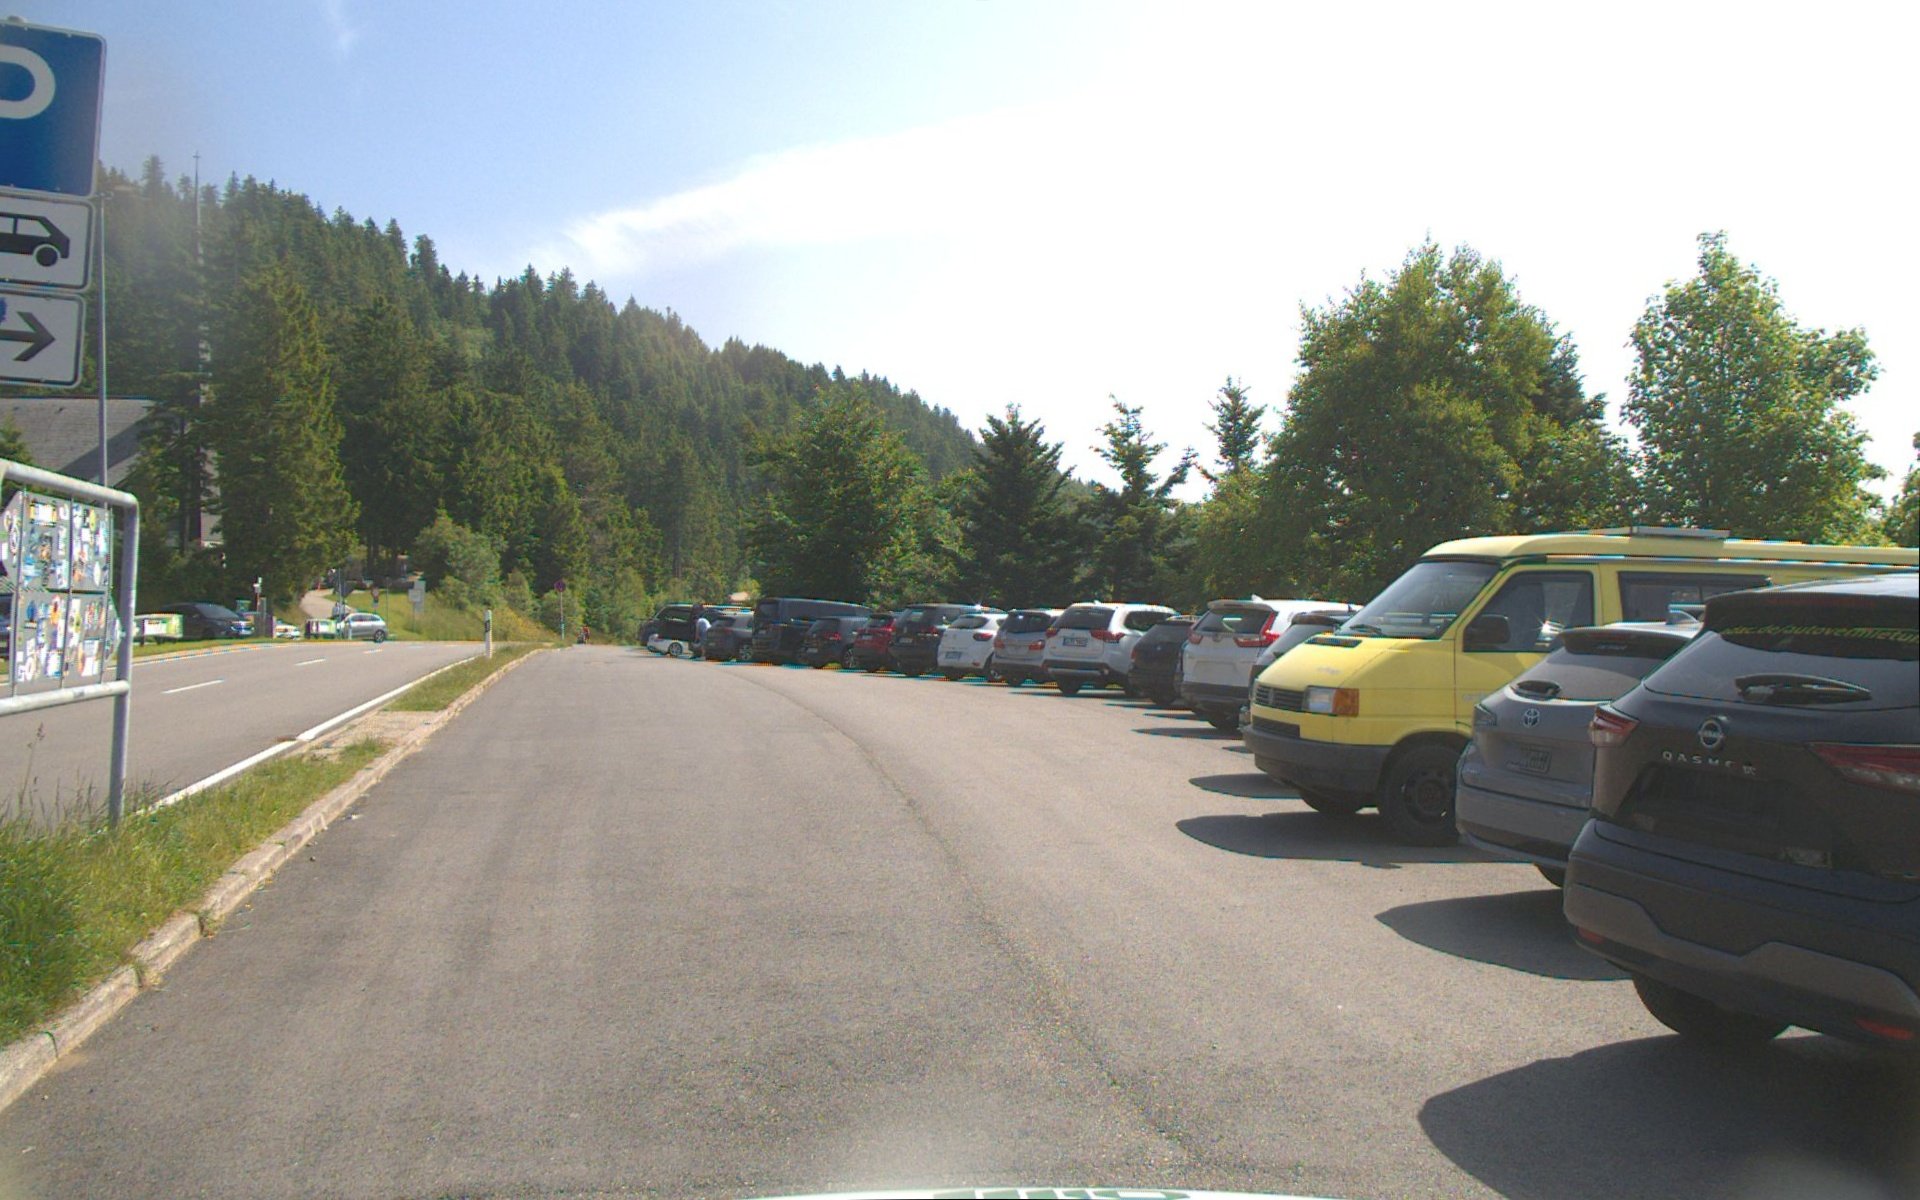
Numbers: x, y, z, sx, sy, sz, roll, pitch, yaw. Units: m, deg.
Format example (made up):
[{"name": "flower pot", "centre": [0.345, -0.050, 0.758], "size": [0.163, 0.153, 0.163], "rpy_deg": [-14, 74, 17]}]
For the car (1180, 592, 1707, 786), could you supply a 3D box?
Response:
[{"name": "car", "centre": [4.311, 0.717, 14.902], "size": [4.279, 1.513, 1.805], "rpy_deg": [-1, 1, -16]}]

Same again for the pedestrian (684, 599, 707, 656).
[{"name": "pedestrian", "centre": [-8.632, 0.902, 53.997], "size": [0.567, 1.791, 0.633], "rpy_deg": [3, -2, -1]}]

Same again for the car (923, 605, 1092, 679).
[{"name": "car", "centre": [1.135, 0.985, 37.585], "size": [1.735, 1.502, 3.979], "rpy_deg": [2, -2, 40]}]

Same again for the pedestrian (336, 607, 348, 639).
[{"name": "pedestrian", "centre": [-35.159, 1.301, 94.094], "size": [0.643, 1.830, 0.639], "rpy_deg": [0, 0, -19]}]

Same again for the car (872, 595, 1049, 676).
[{"name": "car", "centre": [0.070, 0.876, 39.670], "size": [1.954, 1.724, 4.251], "rpy_deg": [2, -2, 39]}]

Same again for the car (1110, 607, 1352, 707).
[{"name": "car", "centre": [4.588, 0.978, 27.698], "size": [4.015, 1.487, 1.867], "rpy_deg": [4, -2, -41]}]

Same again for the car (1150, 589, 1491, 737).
[{"name": "car", "centre": [4.642, 0.817, 21.155], "size": [4.132, 1.678, 1.871], "rpy_deg": [4, -2, -33]}]

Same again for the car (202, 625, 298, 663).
[{"name": "car", "centre": [-29.570, 1.825, 68.876], "size": [3.884, 1.466, 1.740], "rpy_deg": [-1, 0, 31]}]

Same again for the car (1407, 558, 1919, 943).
[{"name": "car", "centre": [4.492, 0.686, 8.137], "size": [4.074, 1.617, 1.701], "rpy_deg": [2, 0, -10]}]

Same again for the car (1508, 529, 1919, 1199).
[{"name": "car", "centre": [3.988, 0.695, 5.215], "size": [3.925, 1.642, 1.907], "rpy_deg": [2, 0, -18]}]

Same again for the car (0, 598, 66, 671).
[{"name": "car", "centre": [-22.297, 0.765, 37.949], "size": [3.924, 1.579, 1.775], "rpy_deg": [0, 1, 39]}]

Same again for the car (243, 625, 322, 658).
[{"name": "car", "centre": [-32.964, 2.009, 80.562], "size": [1.549, 1.453, 3.368], "rpy_deg": [0, 1, 27]}]

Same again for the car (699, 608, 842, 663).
[{"name": "car", "centre": [-5.827, 1.100, 50.901], "size": [3.951, 1.468, 1.818], "rpy_deg": [4, -2, -34]}]

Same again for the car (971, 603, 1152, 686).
[{"name": "car", "centre": [2.187, 0.957, 34.764], "size": [1.787, 1.576, 3.979], "rpy_deg": [2, -2, 40]}]

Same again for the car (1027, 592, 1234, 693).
[{"name": "car", "centre": [3.272, 0.811, 31.143], "size": [1.829, 1.724, 4.205], "rpy_deg": [1, -1, 40]}]

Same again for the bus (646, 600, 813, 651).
[{"name": "bus", "centre": [-18.075, 1.992, 130.222], "size": [12.590, 3.640, 2.983], "rpy_deg": [1, 1, 4]}]

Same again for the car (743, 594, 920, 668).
[{"name": "car", "centre": [-3.706, 0.912, 47.959], "size": [4.711, 1.913, 1.945], "rpy_deg": [4, -2, -32]}]

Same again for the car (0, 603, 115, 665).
[{"name": "car", "centre": [-24.447, 0.873, 44.067], "size": [3.975, 1.595, 1.735], "rpy_deg": [0, 0, 34]}]

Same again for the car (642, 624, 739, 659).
[{"name": "car", "centre": [-13.319, 2.061, 81.866], "size": [4.404, 1.321, 1.567], "rpy_deg": [6, -2, -29]}]

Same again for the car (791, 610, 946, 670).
[{"name": "car", "centre": [-2.477, 1.092, 45.139], "size": [3.962, 1.440, 1.719], "rpy_deg": [4, -2, -40]}]

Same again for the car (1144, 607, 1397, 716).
[{"name": "car", "centre": [4.780, 0.953, 25.292], "size": [3.763, 1.484, 1.642], "rpy_deg": [4, -1, -36]}]

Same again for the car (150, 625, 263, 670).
[{"name": "car", "centre": [-28.748, 1.799, 63.098], "size": [4.116, 1.663, 1.787], "rpy_deg": [-1, -2, 27]}]

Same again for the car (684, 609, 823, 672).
[{"name": "car", "centre": [-6.679, 1.333, 53.745], "size": [3.963, 1.691, 1.971], "rpy_deg": [7, -4, -40]}]

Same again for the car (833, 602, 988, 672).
[{"name": "car", "centre": [-1.243, 0.976, 42.925], "size": [1.829, 1.617, 3.979], "rpy_deg": [2, -2, 40]}]

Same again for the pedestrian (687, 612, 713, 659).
[{"name": "pedestrian", "centre": [-8.155, 1.110, 51.871], "size": [0.759, 1.427, 0.668], "rpy_deg": [-1, 1, -6]}]

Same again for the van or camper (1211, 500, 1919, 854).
[{"name": "van or camper", "centre": [4.459, 0.536, 11.404], "size": [5.000, 2.048, 1.877], "rpy_deg": [3, 0, -12]}]
